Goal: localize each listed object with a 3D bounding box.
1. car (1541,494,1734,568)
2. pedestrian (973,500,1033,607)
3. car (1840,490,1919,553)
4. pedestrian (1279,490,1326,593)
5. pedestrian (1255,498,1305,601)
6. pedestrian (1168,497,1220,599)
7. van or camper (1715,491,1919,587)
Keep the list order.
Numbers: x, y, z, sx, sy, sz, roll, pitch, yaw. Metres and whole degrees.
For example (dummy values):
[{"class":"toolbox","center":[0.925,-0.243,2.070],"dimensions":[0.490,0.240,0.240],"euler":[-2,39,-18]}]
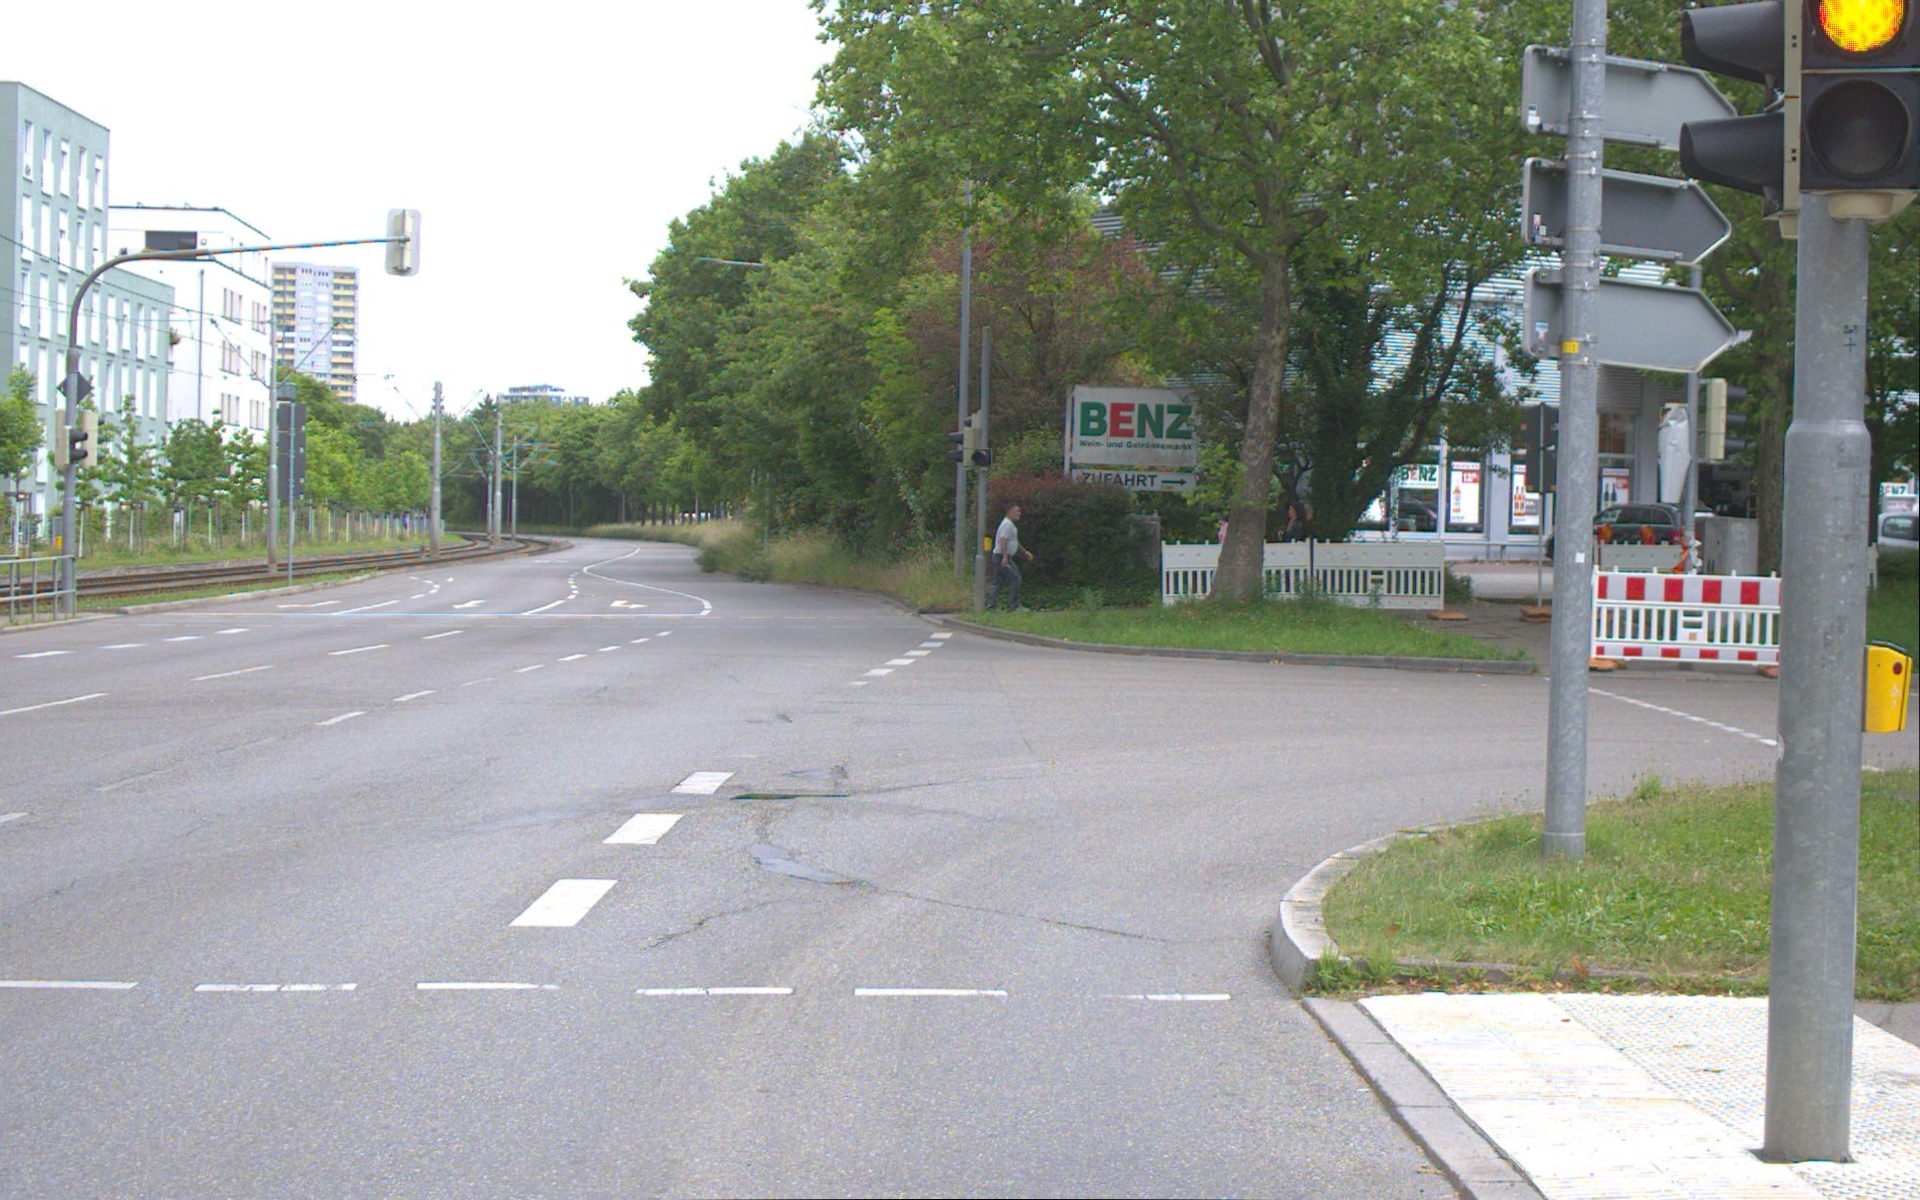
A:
[{"class":"car","center":[14.244,-1.447,72.513],"dimensions":[1.728,1.495,4.269],"euler":[1,1,-27]},{"class":"pedestrian","center":[0.643,-0.699,51.801],"dimensions":[0.848,1.581,0.796],"euler":[1,0,-2]},{"class":"car","center":[21.824,-1.788,78.221],"dimensions":[1.480,1.399,3.409],"euler":[0,1,-31]},{"class":"pedestrian","center":[5.171,-0.883,51.895],"dimensions":[0.653,1.533,0.772],"euler":[1,0,7]},{"class":"pedestrian","center":[4.654,-0.735,49.956],"dimensions":[0.697,1.484,0.720],"euler":[1,0,6]},{"class":"pedestrian","center":[3.423,-0.761,50.298],"dimensions":[0.697,1.484,0.688],"euler":[1,0,1]},{"class":"van or camper","center":[15.667,-1.117,61.999],"dimensions":[1.840,1.678,4.001],"euler":[-1,2,-28]}]
